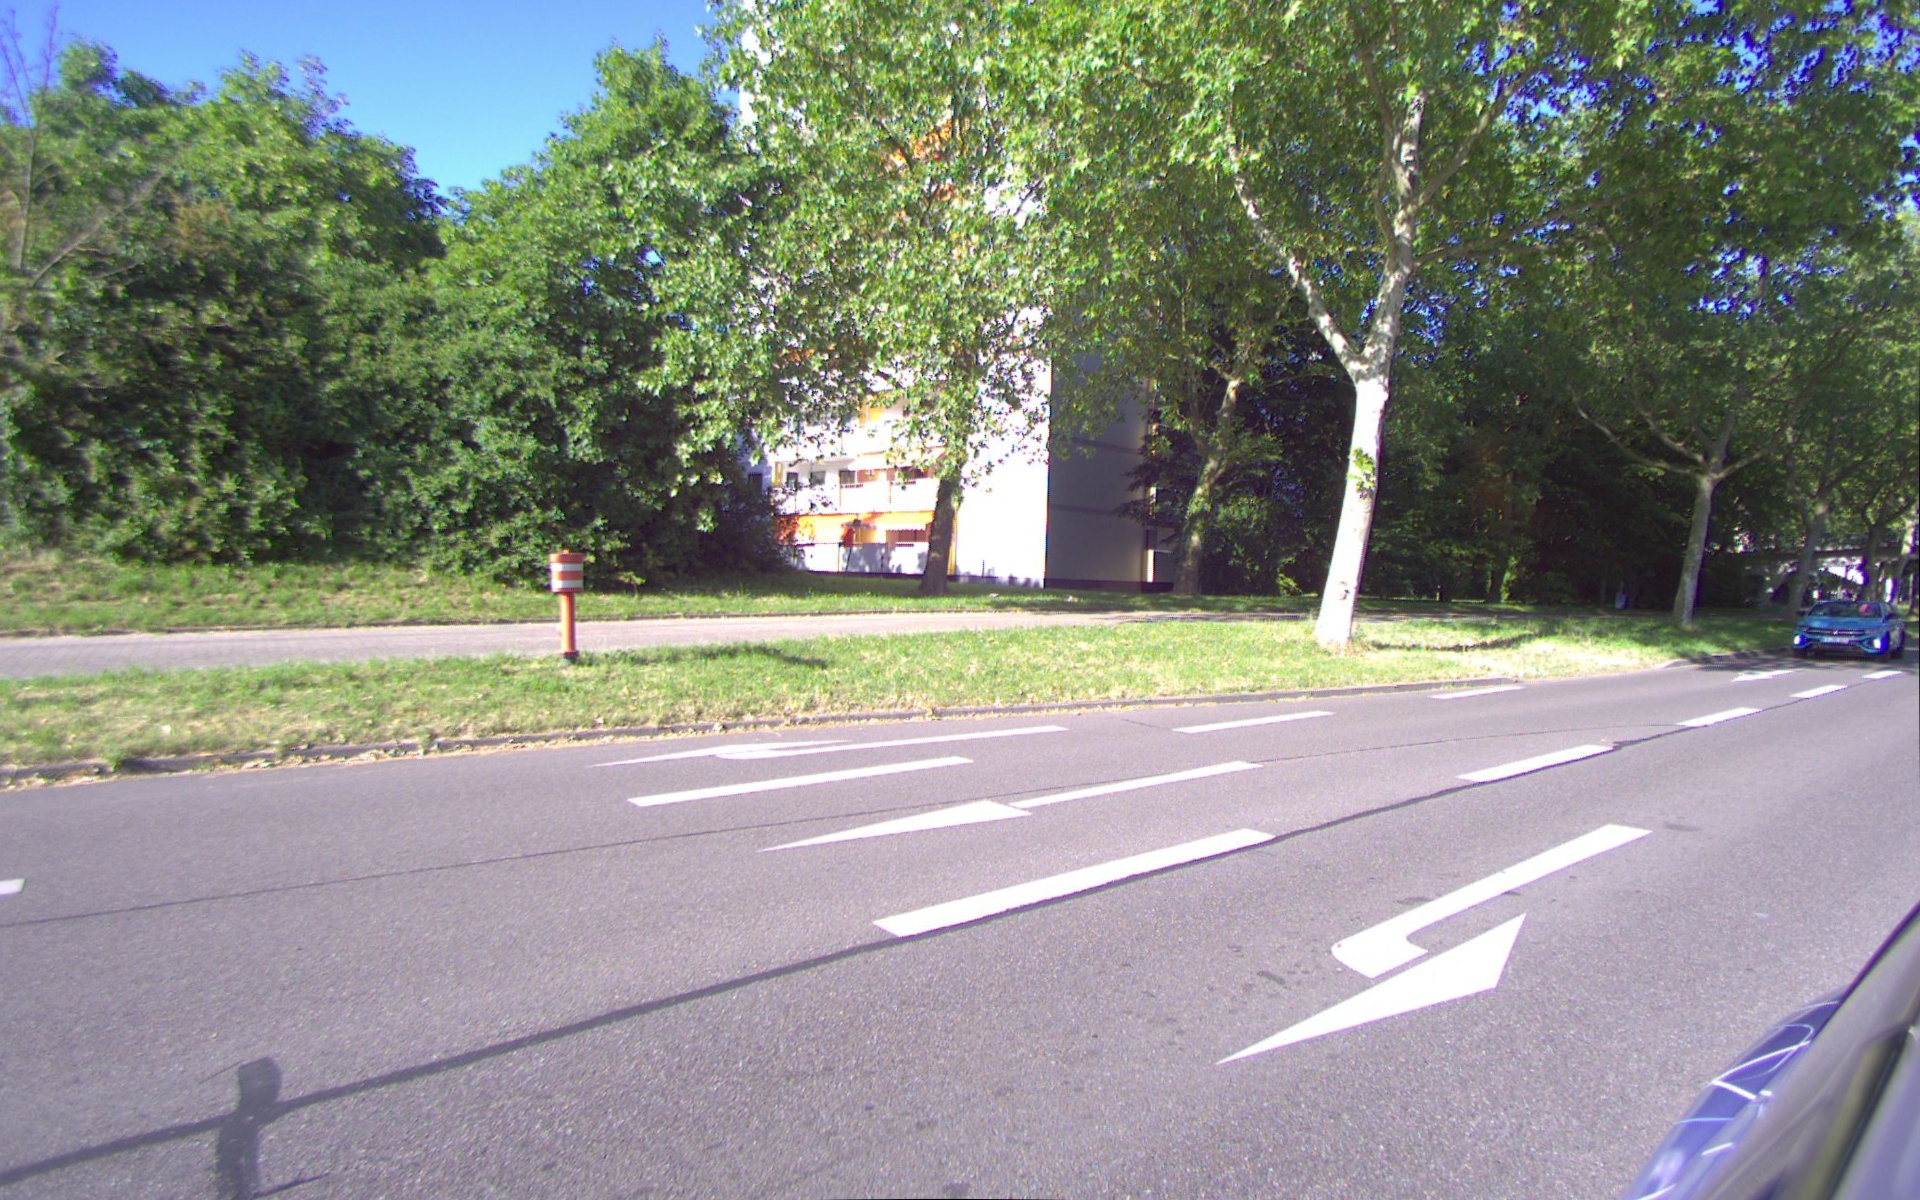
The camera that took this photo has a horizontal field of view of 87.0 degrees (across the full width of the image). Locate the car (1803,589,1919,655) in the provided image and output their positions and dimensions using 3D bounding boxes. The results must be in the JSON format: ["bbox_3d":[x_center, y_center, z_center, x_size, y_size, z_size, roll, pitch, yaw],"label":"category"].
[{"bbox_3d":[22.720,0.512,25.341,4.027,1.502,1.779,1,0,-40],"label":"car"}]

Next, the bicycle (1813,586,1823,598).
[{"bbox_3d":[92.317,-0.860,108.841,1.775,1.269,0.576,0,1,-42],"label":"bicycle"}]

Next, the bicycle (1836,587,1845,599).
[{"bbox_3d":[94.858,-0.772,109.016,1.775,1.269,0.576,0,1,-42],"label":"bicycle"}]

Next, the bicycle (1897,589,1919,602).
[{"bbox_3d":[96.537,-0.427,102.714,2.064,1.172,0.554,4,3,40],"label":"bicycle"}]
